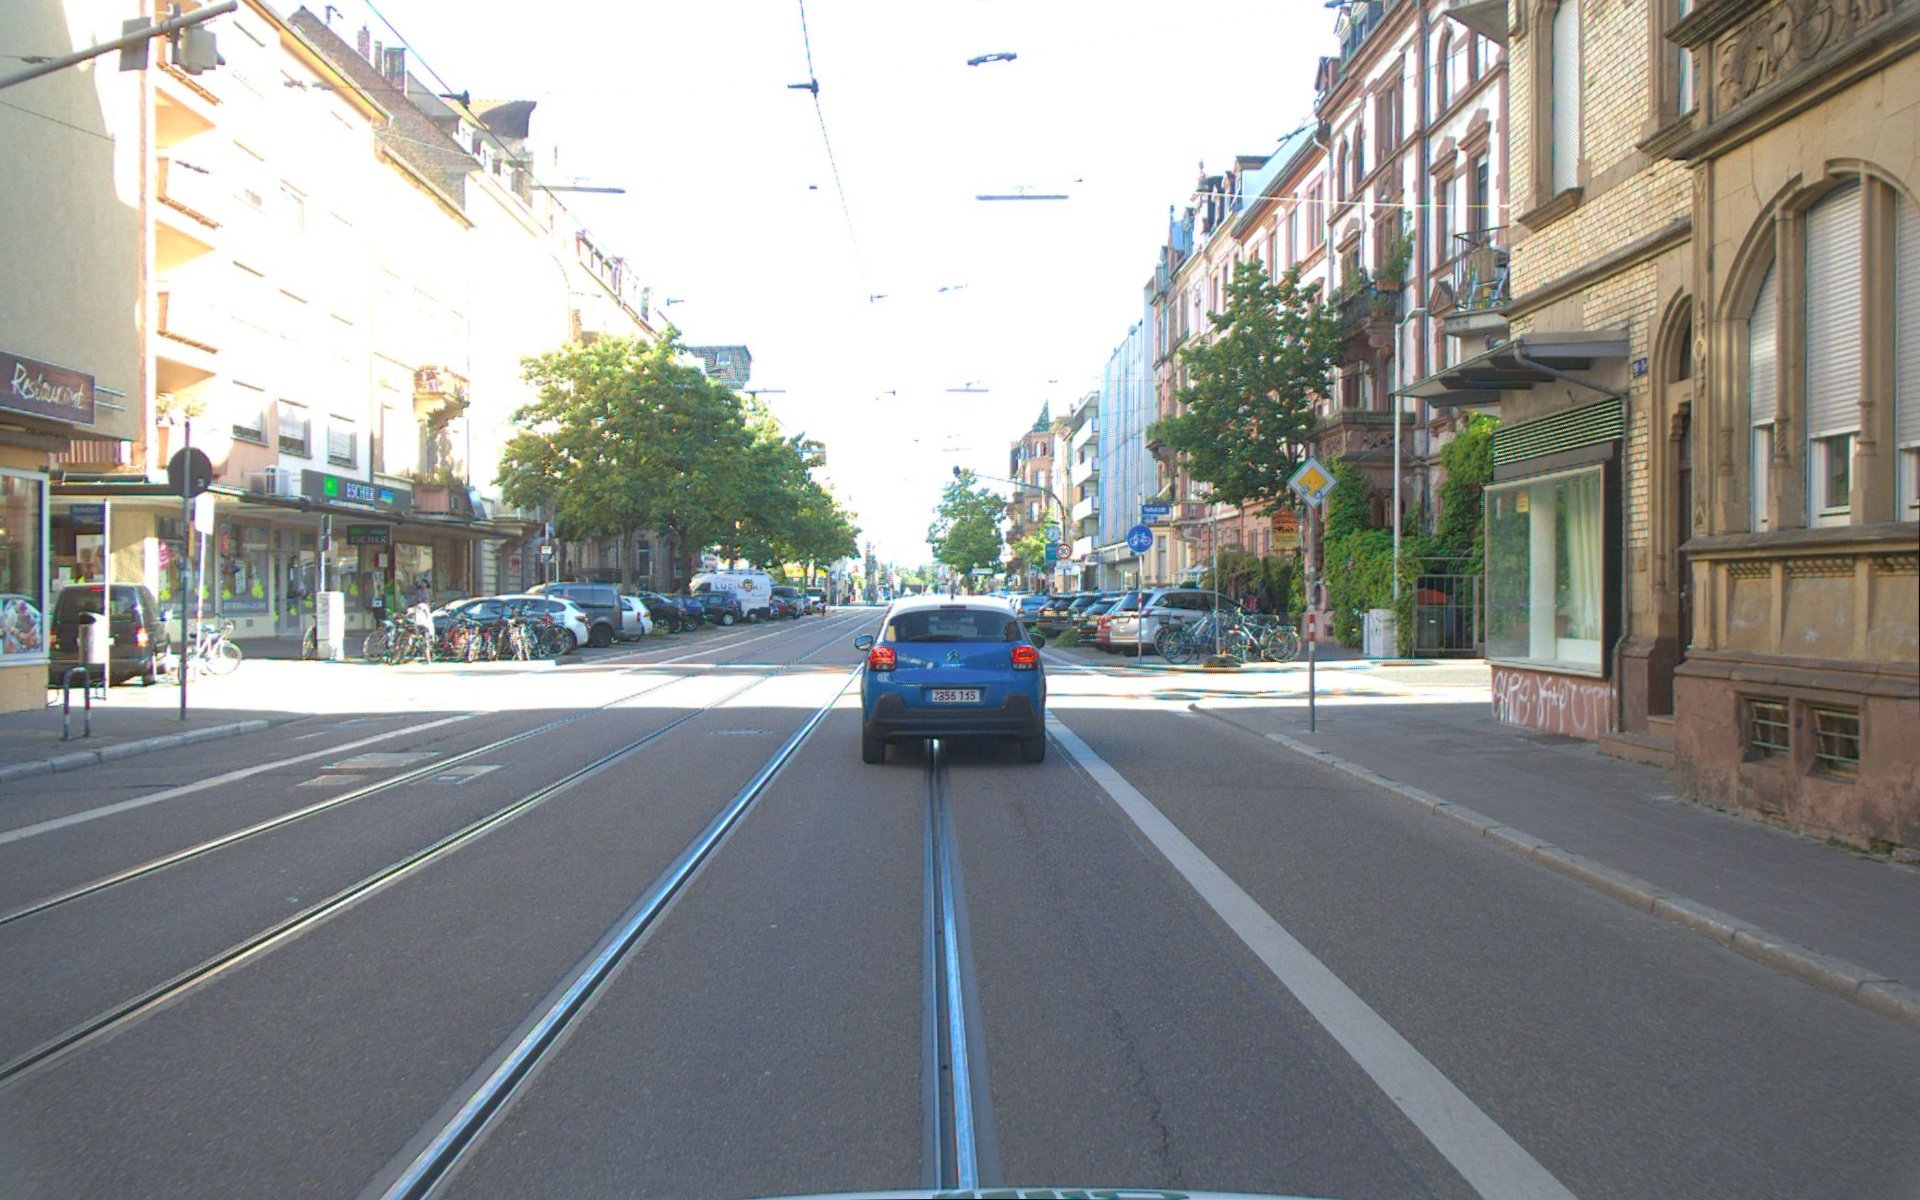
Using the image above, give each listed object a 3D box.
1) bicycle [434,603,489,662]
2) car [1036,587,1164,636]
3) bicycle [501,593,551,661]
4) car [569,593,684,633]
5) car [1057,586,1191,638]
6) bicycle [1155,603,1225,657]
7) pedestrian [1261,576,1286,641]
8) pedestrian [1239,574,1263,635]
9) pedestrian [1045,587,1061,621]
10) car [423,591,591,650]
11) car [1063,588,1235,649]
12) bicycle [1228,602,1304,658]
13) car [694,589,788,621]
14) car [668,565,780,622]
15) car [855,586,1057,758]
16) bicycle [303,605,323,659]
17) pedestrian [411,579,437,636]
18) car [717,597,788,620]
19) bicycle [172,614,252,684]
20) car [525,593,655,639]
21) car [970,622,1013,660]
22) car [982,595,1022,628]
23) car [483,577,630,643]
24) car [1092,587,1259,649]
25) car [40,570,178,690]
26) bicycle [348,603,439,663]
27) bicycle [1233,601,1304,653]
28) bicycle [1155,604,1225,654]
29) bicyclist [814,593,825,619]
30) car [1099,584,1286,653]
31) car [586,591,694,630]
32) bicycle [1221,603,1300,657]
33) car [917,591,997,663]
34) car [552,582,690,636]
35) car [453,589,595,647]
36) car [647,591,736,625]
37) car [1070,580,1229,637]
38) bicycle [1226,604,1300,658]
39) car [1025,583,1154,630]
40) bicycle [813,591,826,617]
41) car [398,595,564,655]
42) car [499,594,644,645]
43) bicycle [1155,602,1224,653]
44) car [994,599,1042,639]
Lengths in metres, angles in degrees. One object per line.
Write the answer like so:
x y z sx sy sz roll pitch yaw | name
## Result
-10.782 0.683 35.742 0.675 1.143 1.867 -1 3 -32 | bicycle
4.815 0.404 57.029 3.938 1.624 2.070 1 0 -26 | car
-9.498 0.572 36.251 0.668 1.342 2.433 0 2 -5 | bicycle
-12.783 0.504 63.398 3.951 1.515 1.785 1 0 -34 | car
5.334 0.402 53.725 3.938 1.624 1.943 1 0 -26 | car
4.910 0.638 35.304 1.373 1.147 0.550 1 0 -13 | bicycle
8.726 0.234 46.005 0.507 1.809 0.863 1 0 -1 | pedestrian
8.063 0.130 45.849 0.507 1.677 0.863 1 0 -1 | pedestrian
4.474 0.187 79.816 0.697 1.635 0.654 1 0 -2 | pedestrian
-11.367 0.512 41.597 3.746 1.424 1.734 1 0 -34 | car
5.272 0.505 46.116 4.379 1.624 2.071 1 0 -26 | car
6.458 0.627 34.984 1.523 1.147 0.552 1 0 5 | bicycle
-11.589 0.284 87.685 4.713 1.646 1.692 1 0 -34 | car
-11.922 -0.284 83.730 5.316 2.797 1.787 1 0 -31 | car
-0.080 0.624 16.023 1.727 1.466 3.555 1 0 -2 | car
-13.914 0.682 35.551 0.397 1.129 1.825 0 0 -22 | bicycle
-16.136 0.220 49.781 0.557 1.681 0.641 1 0 -1 | pedestrian
-11.760 0.491 93.678 3.752 1.287 1.503 1 0 -27 | car
-13.811 0.878 30.593 0.668 1.128 2.432 0 2 -8 | bicycle
-11.982 0.512 53.583 3.786 1.455 1.750 1 0 -27 | car
1.430 1.877 76.615 1.835 1.624 3.999 1 0 -1 | car
2.056 0.565 82.625 1.835 1.624 3.999 1 0 -1 | car
-11.554 0.300 47.398 3.769 1.816 1.779 1 0 -30 | car
5.616 0.468 43.128 3.938 1.563 1.903 1 0 -26 | car
-15.992 0.484 31.286 1.818 1.848 4.330 -3 4 -22 | car
-12.071 0.686 35.198 2.390 1.128 0.680 2 3 39 | bicycle
6.953 0.606 37.279 1.523 1.147 0.552 1 0 5 | bicycle
5.145 0.645 37.021 1.523 1.098 0.307 1 0 5 | bicycle
-9.224 0.404 108.597 0.621 1.711 0.726 1 0 -1 | bicyclist
5.727 0.460 40.677 4.298 1.624 1.838 1 0 -26 | car
-12.857 0.411 66.462 3.943 1.515 1.789 1 0 -29 | car
6.556 0.650 36.153 1.639 1.147 0.552 1 0 5 | bicycle
-0.100 0.626 40.163 1.835 1.624 3.999 1 0 -1 | car
-11.806 0.336 57.622 4.314 1.814 1.973 1 0 -34 | car
-11.739 0.459 44.534 3.423 1.499 1.632 0 1 -31 | car
-12.640 0.378 77.904 3.925 1.515 1.797 1 0 -18 | car
5.587 0.266 48.795 4.265 1.624 2.028 1 0 -26 | car
6.503 0.663 35.568 1.523 1.147 0.528 1 0 5 | bicycle
4.645 0.248 59.299 4.250 1.624 1.966 1 0 -26 | car
-9.233 0.277 108.589 0.666 1.708 2.096 1 0 -1 | bicycle
-11.204 0.576 38.743 3.431 1.361 1.604 1 0 -36 | car
-11.742 0.594 50.085 3.970 1.475 1.679 1 0 -34 | car
5.175 0.619 37.347 1.527 1.147 0.295 1 0 5 | bicycle
2.446 0.803 71.186 1.835 1.624 4.718 1 0 -1 | car
